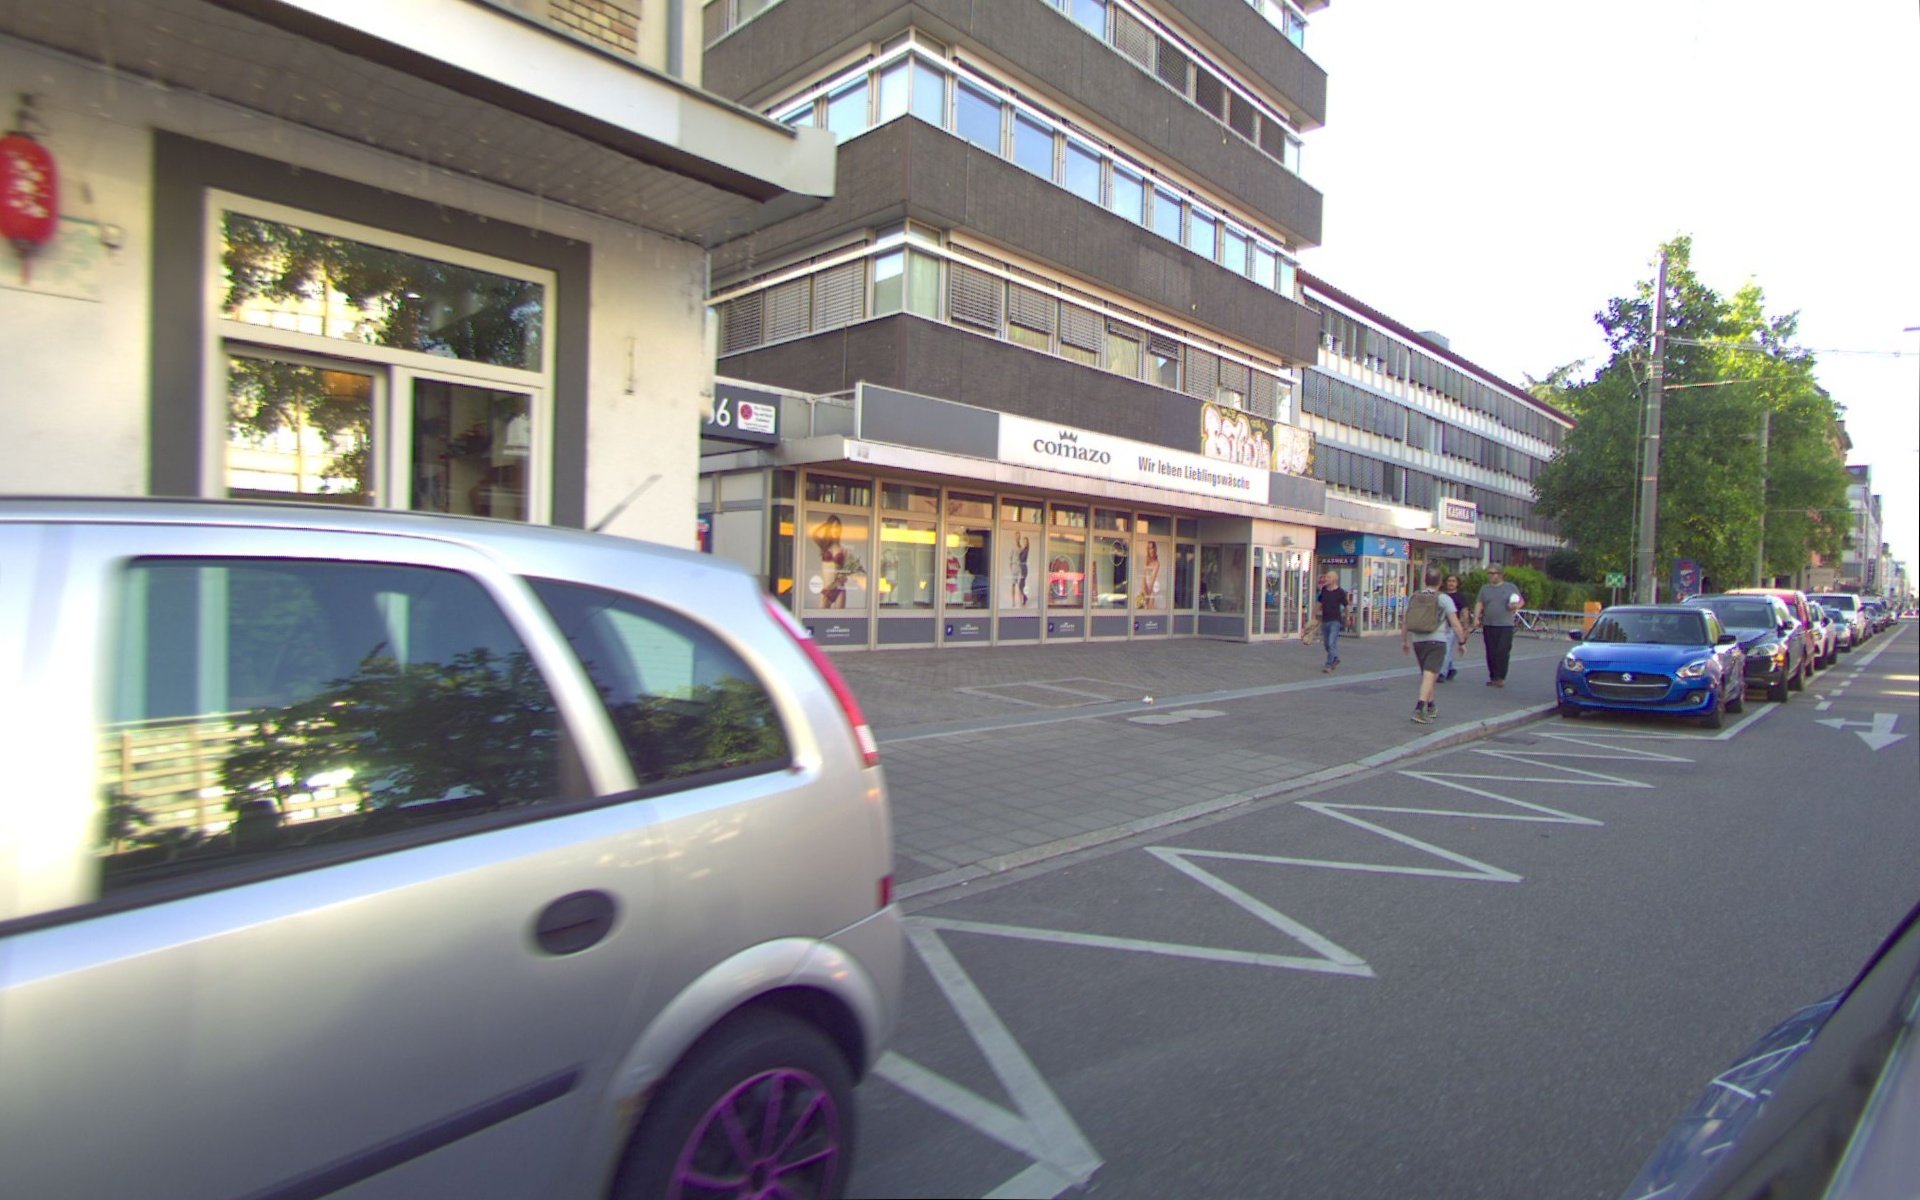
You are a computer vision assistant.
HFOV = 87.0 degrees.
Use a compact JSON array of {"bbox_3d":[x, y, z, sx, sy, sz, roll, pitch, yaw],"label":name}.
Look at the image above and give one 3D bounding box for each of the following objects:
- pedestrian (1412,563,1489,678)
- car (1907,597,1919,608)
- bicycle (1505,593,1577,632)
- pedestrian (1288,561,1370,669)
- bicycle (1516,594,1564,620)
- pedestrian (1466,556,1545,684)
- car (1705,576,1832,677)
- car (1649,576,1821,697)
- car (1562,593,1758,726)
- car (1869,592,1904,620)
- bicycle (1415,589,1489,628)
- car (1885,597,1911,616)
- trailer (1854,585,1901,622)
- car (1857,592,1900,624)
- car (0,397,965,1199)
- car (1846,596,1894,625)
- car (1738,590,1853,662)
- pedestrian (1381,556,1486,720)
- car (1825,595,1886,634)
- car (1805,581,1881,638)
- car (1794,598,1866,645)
[{"bbox_3d":[8.003,0.314,16.506,0.811,1.778,1.016,3,2,44],"label":"pedestrian"},{"bbox_3d":[142.117,0.365,150.769,1.416,1.642,3.569,1,1,44],"label":"car"},{"bbox_3d":[18.094,0.378,31.537,1.881,1.109,0.462,3,2,43],"label":"bicycle"},{"bbox_3d":[6.348,0.236,17.413,0.901,1.734,1.016,6,4,44],"label":"pedestrian"},{"bbox_3d":[23.612,0.278,41.217,1.597,0.971,0.366,2,2,16],"label":"bicycle"},{"bbox_3d":[8.588,0.293,15.926,0.794,1.922,1.016,3,2,44],"label":"pedestrian"},{"bbox_3d":[16.477,0.468,20.553,1.675,1.831,4.182,1,1,43],"label":"car"},{"bbox_3d":[13.163,0.497,17.085,1.821,1.779,4.404,1,1,44],"label":"car"},{"bbox_3d":[9.401,0.678,13.482,1.637,1.511,3.736,0,0,43],"label":"car"},{"bbox_3d":[64.402,0.363,70.347,1.693,1.866,4.621,1,1,44],"label":"car"},{"bbox_3d":[15.685,0.249,32.298,2.010,1.109,0.628,4,2,38],"label":"bicycle"},{"bbox_3d":[72.618,0.493,78.340,1.416,1.452,3.811,1,1,44],"label":"car"},{"bbox_3d":[56.907,0.209,62.762,5.226,2.176,1.781,0,1,-44],"label":"trailer"},{"bbox_3d":[53.701,0.428,59.167,1.779,1.767,4.404,1,1,43],"label":"car"},{"bbox_3d":[-1.905,0.565,1.535,1.637,1.635,3.884,1,1,43],"label":"car"},{"bbox_3d":[49.263,0.556,54.760,1.780,1.446,4.145,1,1,44],"label":"car"},{"bbox_3d":[20.594,0.573,24.893,4.255,1.616,1.788,0,0,-45],"label":"car"},{"bbox_3d":[5.389,0.400,11.518,0.787,1.759,0.930,2,1,44],"label":"pedestrian"},{"bbox_3d":[37.596,0.578,42.465,1.684,1.511,3.848,0,1,45],"label":"car"},{"bbox_3d":[33.444,0.324,38.276,1.878,2.047,4.826,1,1,44],"label":"car"},{"bbox_3d":[28.904,0.661,33.596,1.674,1.422,4.103,0,1,43],"label":"car"}]
